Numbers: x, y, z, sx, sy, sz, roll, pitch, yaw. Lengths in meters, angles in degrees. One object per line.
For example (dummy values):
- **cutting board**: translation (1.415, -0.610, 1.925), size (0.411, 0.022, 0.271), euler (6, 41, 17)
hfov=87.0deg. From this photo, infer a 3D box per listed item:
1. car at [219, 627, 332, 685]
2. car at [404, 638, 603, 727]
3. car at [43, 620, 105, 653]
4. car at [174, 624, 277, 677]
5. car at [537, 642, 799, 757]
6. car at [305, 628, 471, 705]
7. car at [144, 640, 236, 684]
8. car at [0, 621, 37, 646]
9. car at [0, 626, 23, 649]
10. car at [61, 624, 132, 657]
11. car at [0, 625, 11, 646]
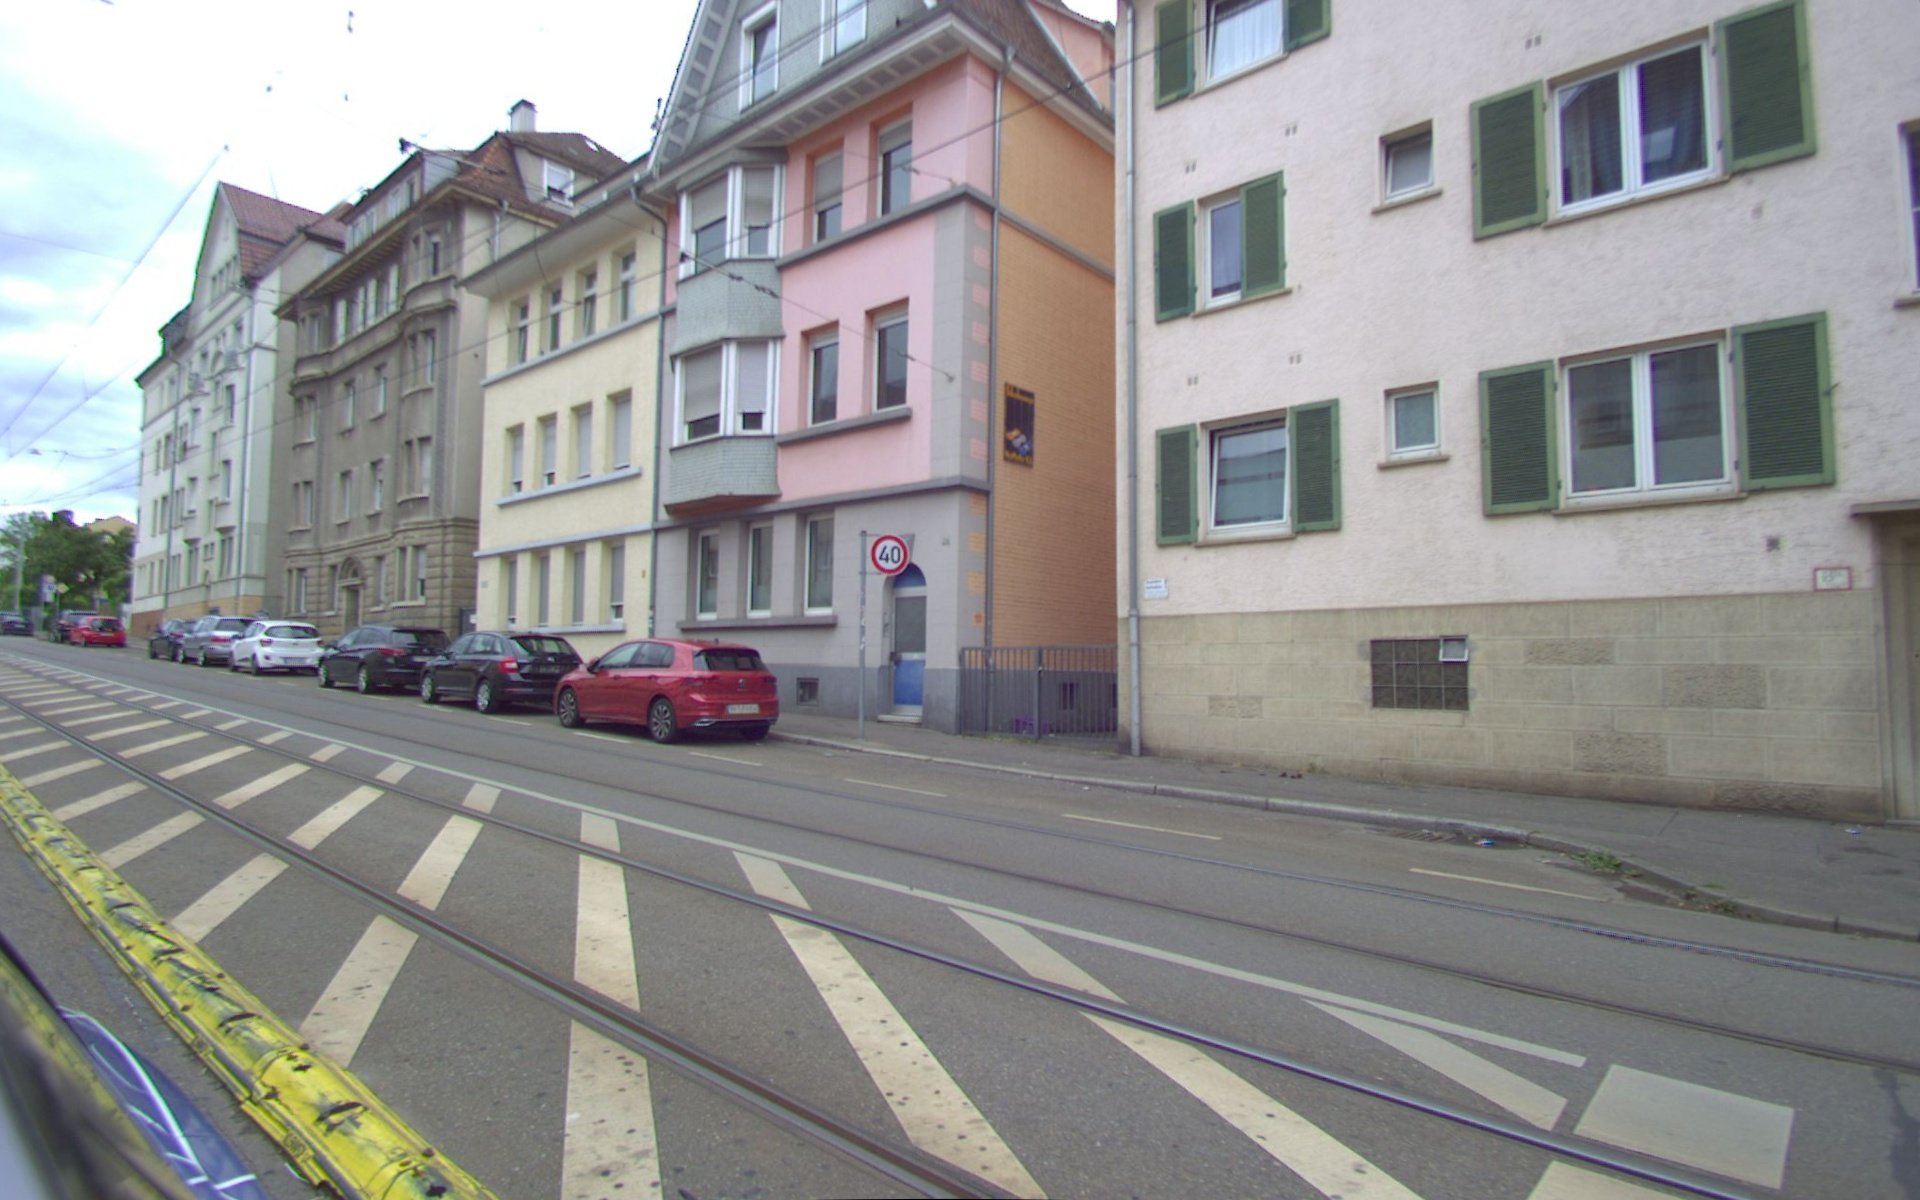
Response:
- **car**: translation (-19.378, 1.555, 28.609), size (3.800, 1.522, 1.720), euler (-1, -4, 42)
- **car**: translation (-8.574, 1.493, 18.853), size (4.240, 1.421, 1.766), euler (-1, -5, 42)
- **car**: translation (-45.148, 1.858, 51.540), size (3.949, 1.537, 1.721), euler (-1, -5, 41)
- **car**: translation (-23.489, 1.566, 32.305), size (4.141, 1.579, 1.721), euler (-1, -3, 41)
- **car**: translation (-4.520, 1.429, 15.342), size (4.260, 1.449, 1.766), euler (-1, -5, 42)
- **car**: translation (-12.740, 1.442, 22.427), size (4.525, 1.522, 1.766), euler (-1, -5, 42)
- **car**: translation (-27.005, 2.133, 35.469), size (4.042, 1.392, 1.721), euler (-1, -3, 41)
- **car**: translation (-64.079, 2.262, 68.570), size (3.949, 1.537, 1.721), euler (-1, -5, 41)
- **car**: translation (-68.754, 2.642, 72.632), size (3.951, 1.537, 1.720), euler (-1, -5, 42)
- **car**: translation (-41.326, 1.934, 48.431), size (3.946, 1.470, 1.722), euler (-1, -5, 38)
- **car**: translation (-73.631, 2.656, 76.863), size (3.949, 1.537, 1.721), euler (-1, -5, 41)
